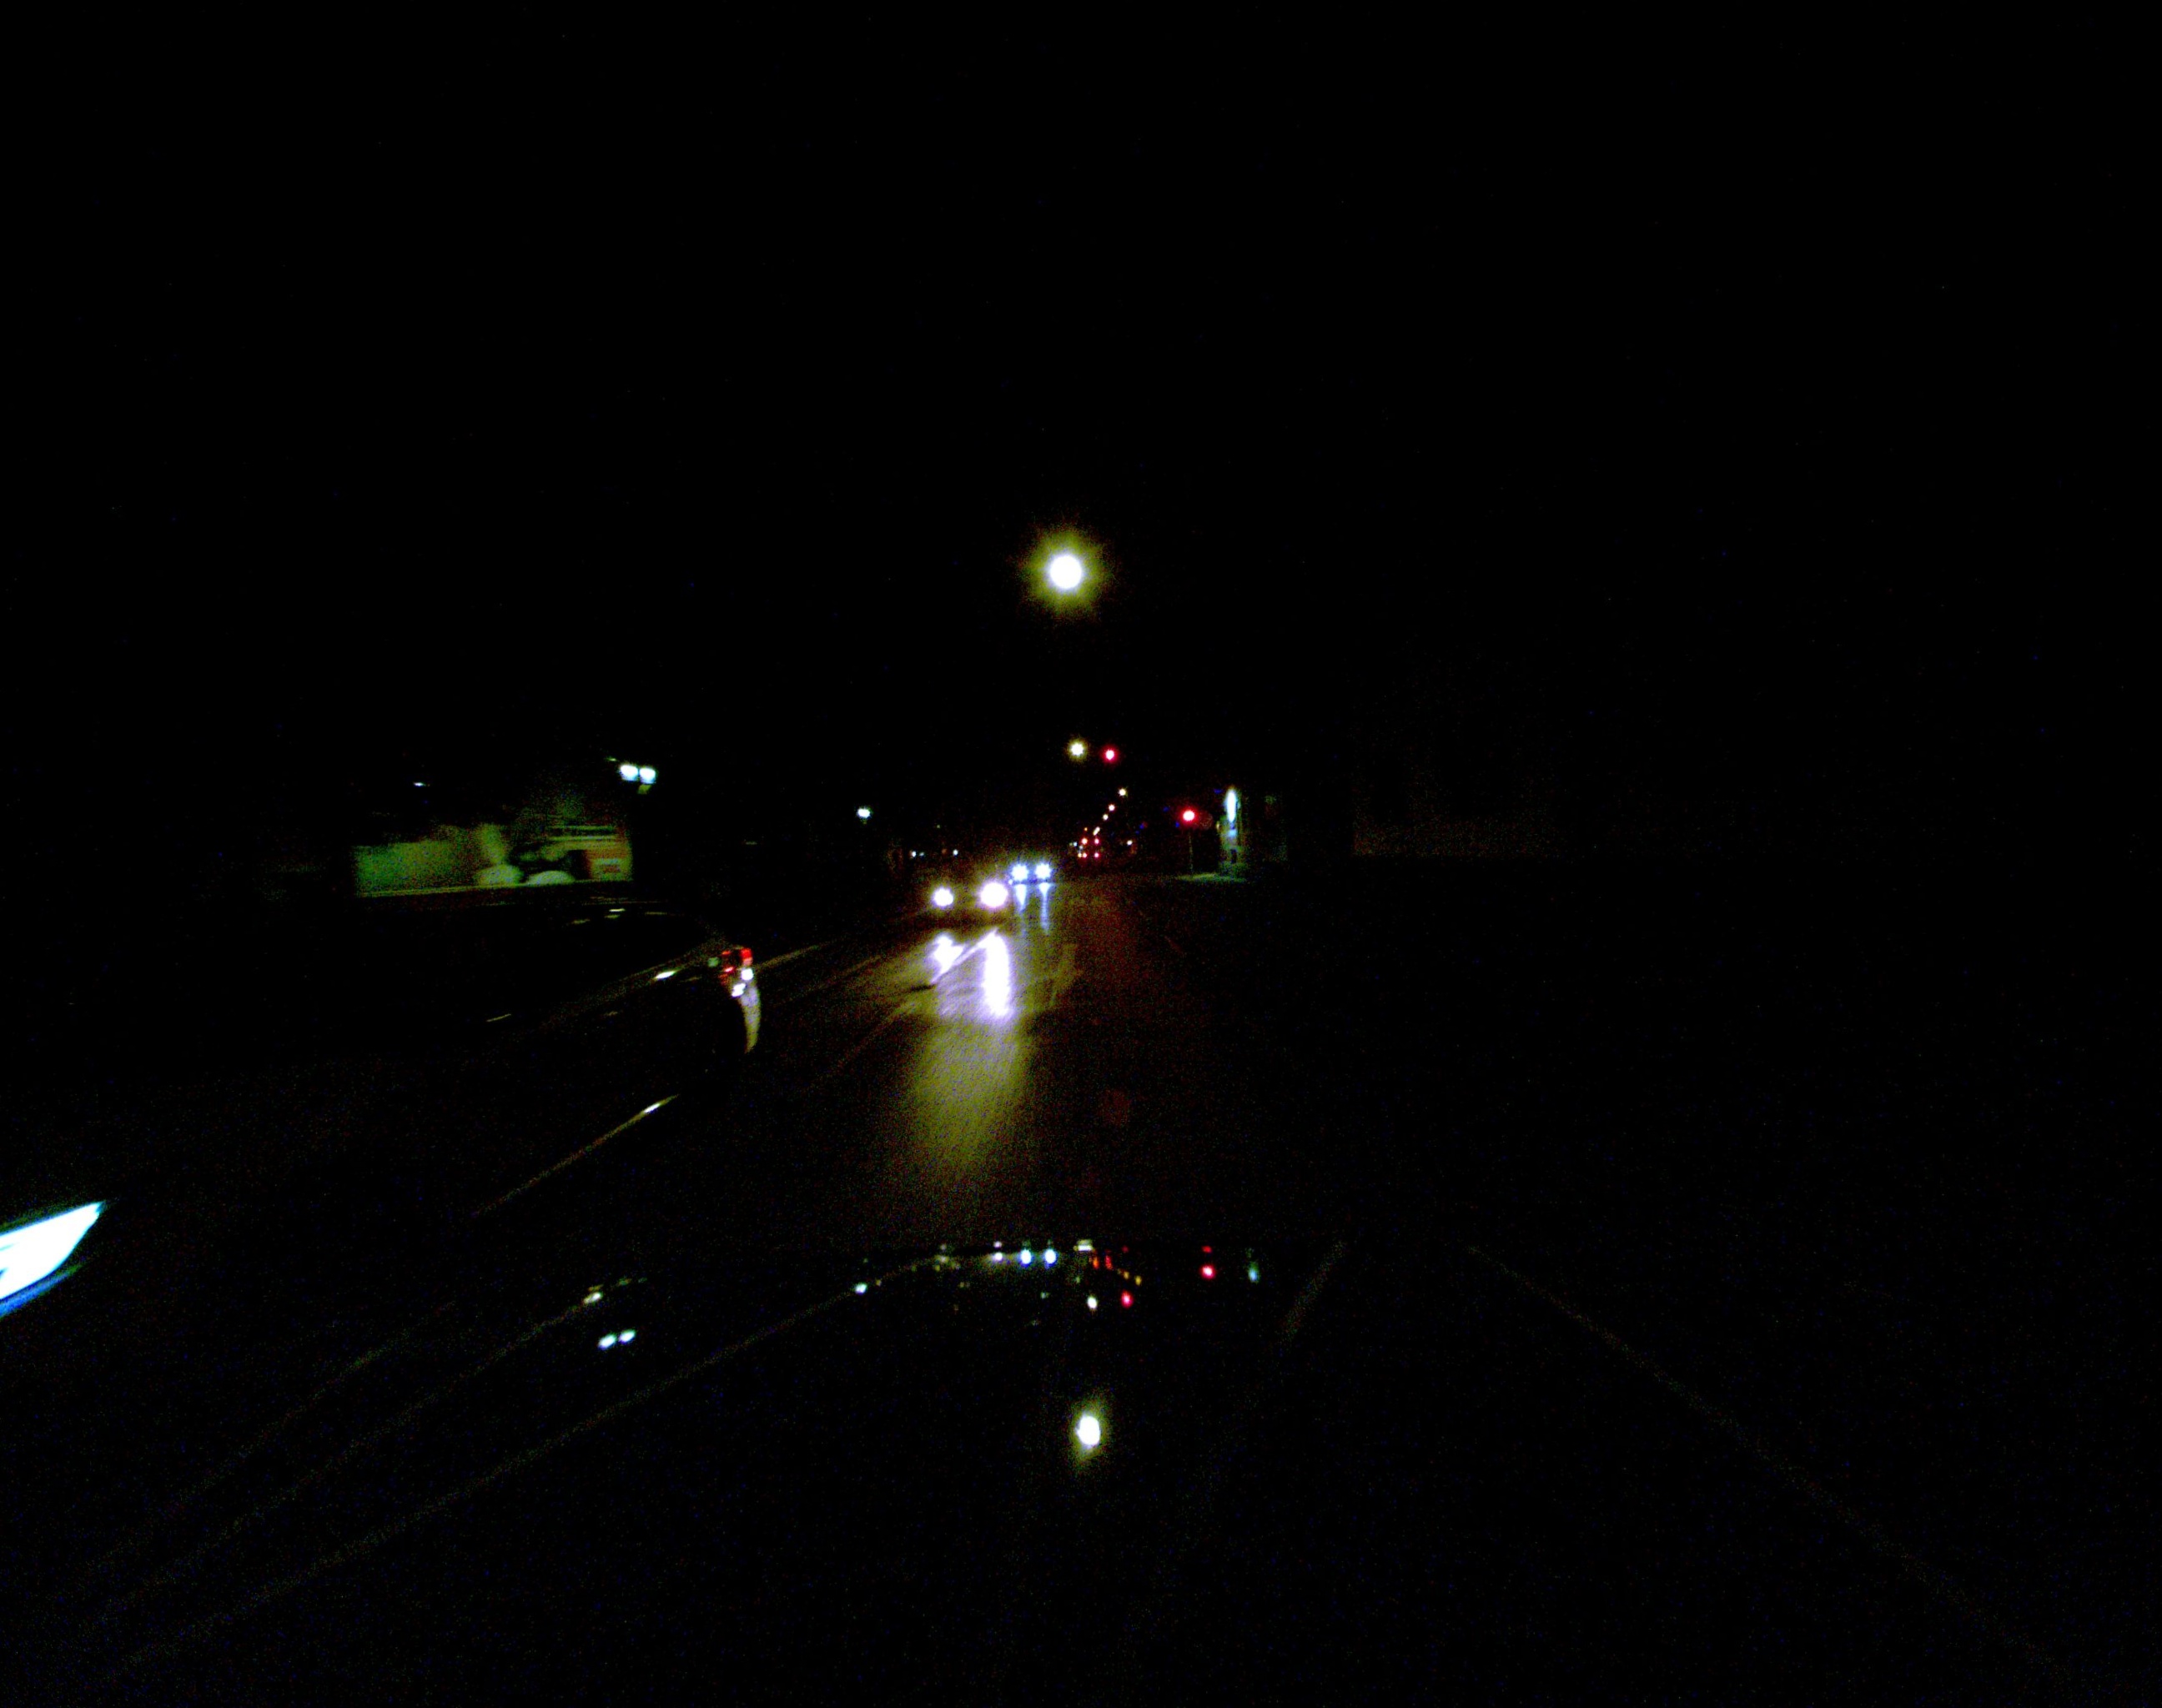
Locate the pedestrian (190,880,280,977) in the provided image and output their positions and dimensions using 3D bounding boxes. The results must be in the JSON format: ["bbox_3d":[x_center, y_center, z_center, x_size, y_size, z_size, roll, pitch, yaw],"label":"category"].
[{"bbox_3d":[-16.684,1.436,15.013,0.676,1.806,0.906,-2,1,1],"label":"pedestrian"}]

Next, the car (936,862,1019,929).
[{"bbox_3d":[-2.648,1.025,20.248,1.634,1.430,3.839,-4,1,0],"label":"car"}]

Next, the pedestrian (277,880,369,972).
[{"bbox_3d":[-15.032,1.408,15.098,0.737,1.707,0.985,-2,1,1],"label":"pedestrian"}]

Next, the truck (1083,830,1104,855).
[{"bbox_3d":[2.387,-2.191,148.879,3.517,4.558,9.039,-4,1,0],"label":"truck"}]

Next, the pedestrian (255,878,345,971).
[{"bbox_3d":[-15.822,1.403,15.422,0.721,1.778,0.970,-2,1,1],"label":"pedestrian"}]

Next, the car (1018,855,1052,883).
[{"bbox_3d":[-2.770,0.850,46.098,1.729,1.455,3.999,-4,1,0],"label":"car"}]

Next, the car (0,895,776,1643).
[{"bbox_3d":[-3.293,1.094,3.613,1.729,1.421,4.498,-4,0,1],"label":"car"}]
